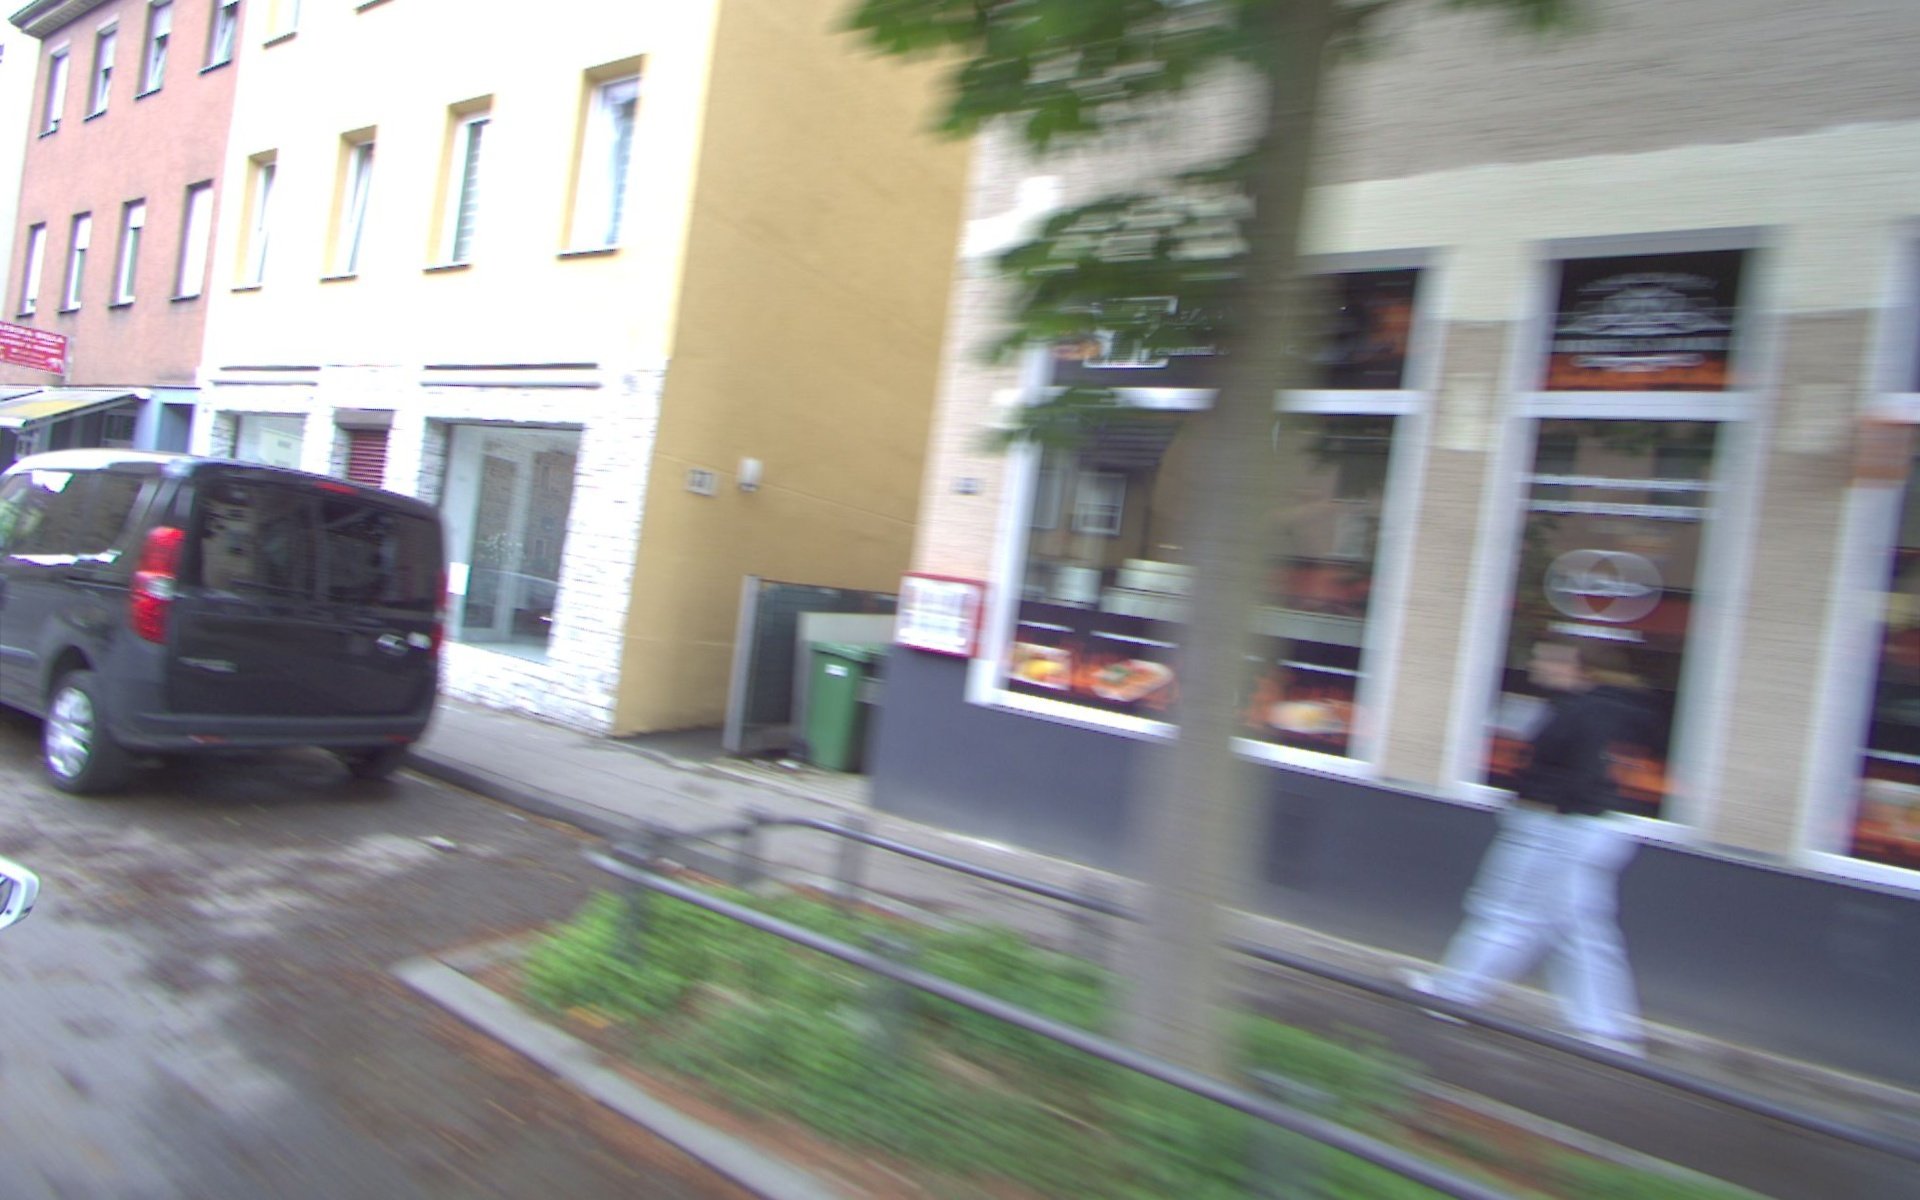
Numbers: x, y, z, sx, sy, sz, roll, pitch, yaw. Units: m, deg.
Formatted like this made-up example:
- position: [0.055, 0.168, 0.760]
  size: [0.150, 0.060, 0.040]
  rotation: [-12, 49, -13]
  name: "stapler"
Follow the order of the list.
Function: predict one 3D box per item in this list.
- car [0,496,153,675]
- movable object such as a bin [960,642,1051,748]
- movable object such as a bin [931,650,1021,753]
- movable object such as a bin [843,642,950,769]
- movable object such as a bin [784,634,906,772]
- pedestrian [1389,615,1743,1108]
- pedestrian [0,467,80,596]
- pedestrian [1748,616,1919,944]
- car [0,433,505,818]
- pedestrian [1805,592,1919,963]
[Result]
- position: [-9.795, -0.331, 9.649]
  size: [4.436, 1.423, 1.753]
  rotation: [7, 0, 32]
  name: "car"
- position: [0.511, 1.050, 11.269]
  size: [0.653, 1.074, 0.676]
  rotation: [7, 1, 33]
  name: "movable object such as a bin"
- position: [0.171, 1.066, 10.688]
  size: [0.653, 0.980, 0.596]
  rotation: [7, 1, 33]
  name: "movable object such as a bin"
- position: [-0.584, 0.958, 9.333]
  size: [0.653, 1.071, 0.659]
  rotation: [5, 0, 33]
  name: "movable object such as a bin"
- position: [-0.998, 0.897, 8.773]
  size: [0.653, 1.070, 0.660]
  rotation: [7, -1, 33]
  name: "movable object such as a bin"
- position: [2.437, 0.973, 4.138]
  size: [0.966, 1.673, 0.615]
  rotation: [8, 1, 30]
  name: "pedestrian"
- position: [-13.003, -0.957, 14.060]
  size: [0.873, 1.670, 0.702]
  rotation: [8, 1, 30]
  name: "pedestrian"
- position: [4.709, 0.925, 5.381]
  size: [0.552, 1.578, 0.568]
  rotation: [7, -1, 31]
  name: "pedestrian"
- position: [-5.319, -0.002, 6.683]
  size: [4.328, 1.802, 1.824]
  rotation: [7, -1, 30]
  name: "car"
- position: [4.362, 0.807, 4.583]
  size: [0.547, 1.578, 0.568]
  rotation: [7, -1, 31]
  name: "pedestrian"
